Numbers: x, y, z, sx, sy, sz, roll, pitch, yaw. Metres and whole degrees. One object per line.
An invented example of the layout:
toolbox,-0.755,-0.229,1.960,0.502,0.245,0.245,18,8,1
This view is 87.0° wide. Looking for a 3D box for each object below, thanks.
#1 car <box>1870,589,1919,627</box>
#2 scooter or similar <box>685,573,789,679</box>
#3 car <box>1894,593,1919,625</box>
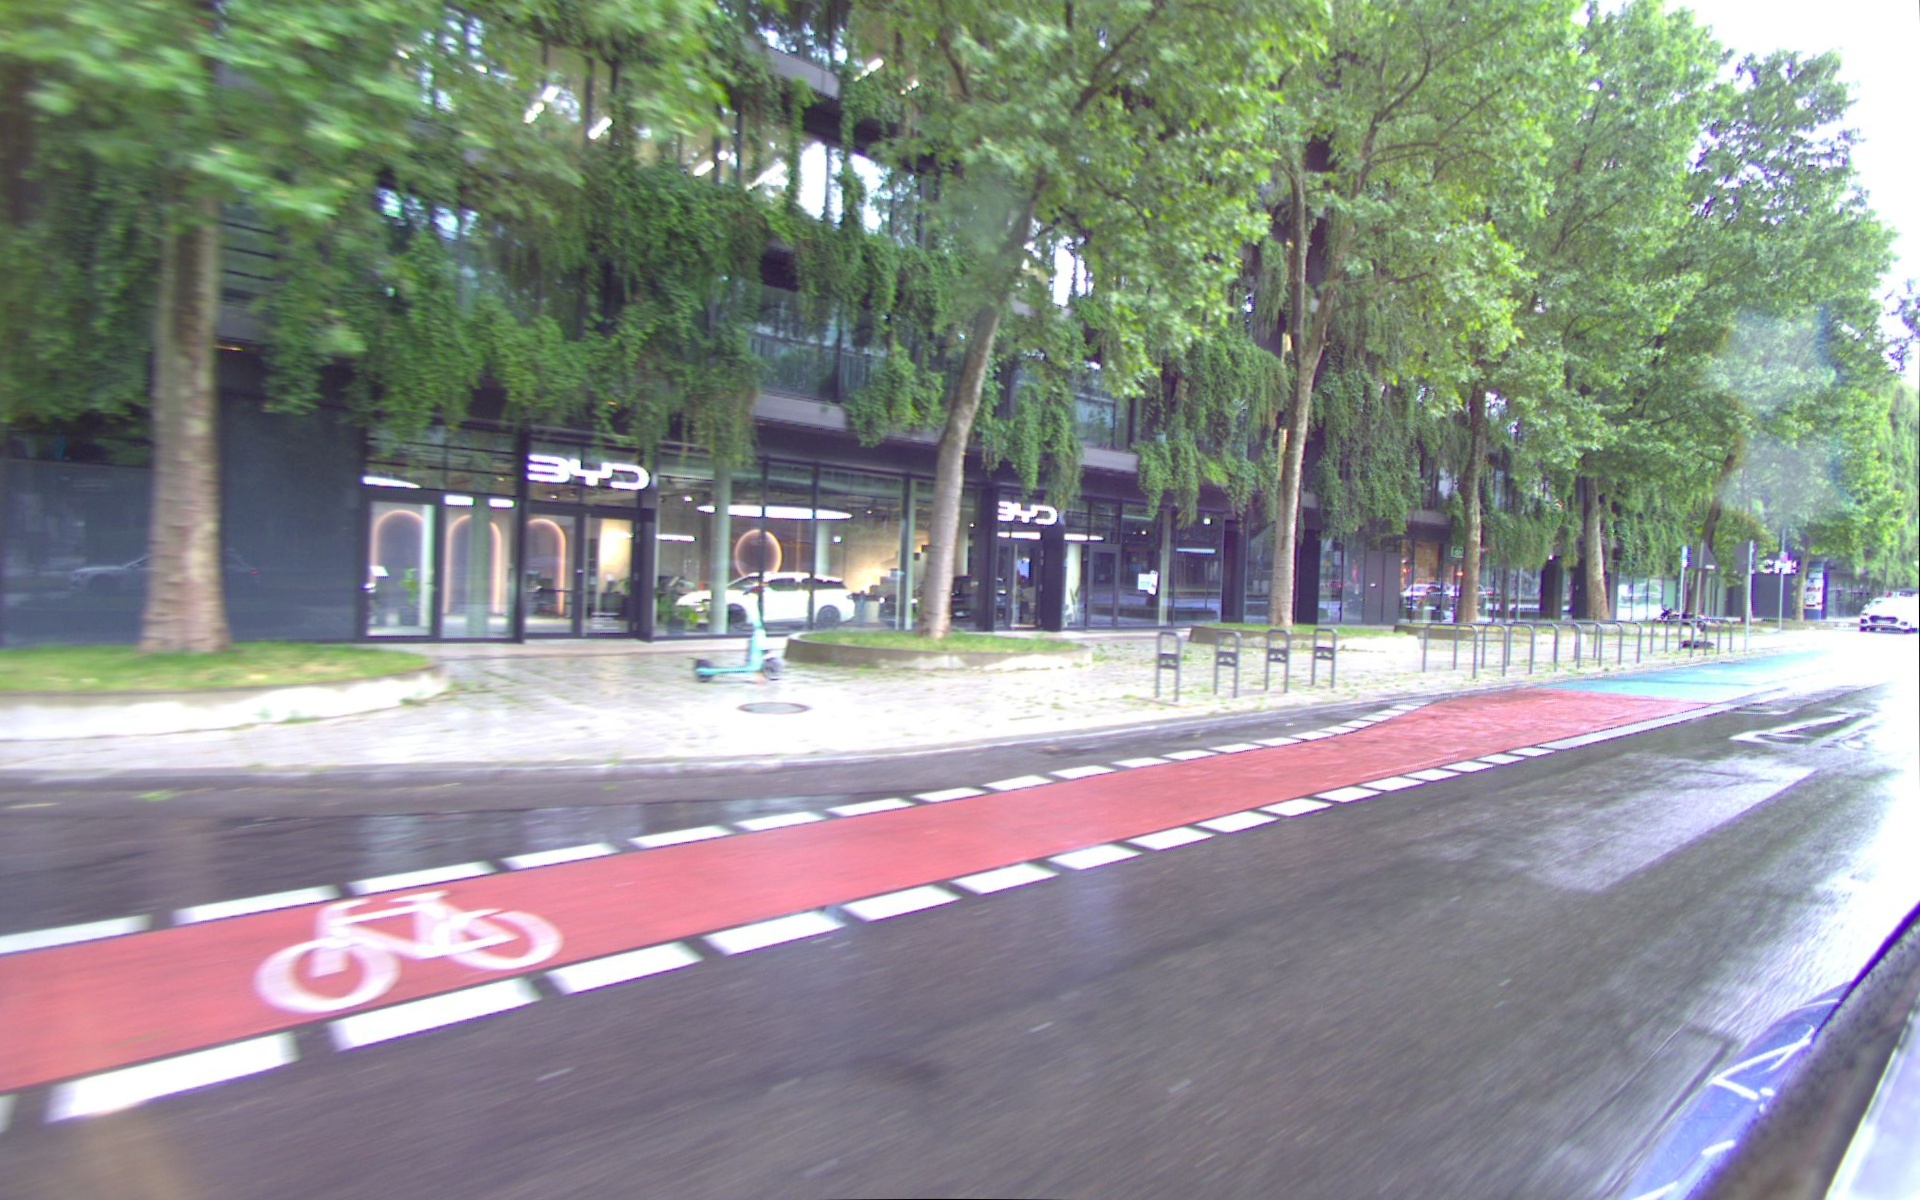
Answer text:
car,45.659,0.348,48.953,4.519,1.757,1.930,-1,1,-41
scooter or similar,-2.804,0.320,12.742,1.165,1.298,0.535,0,0,10
car,50.423,0.454,52.666,4.503,1.581,2.035,-1,1,-39
